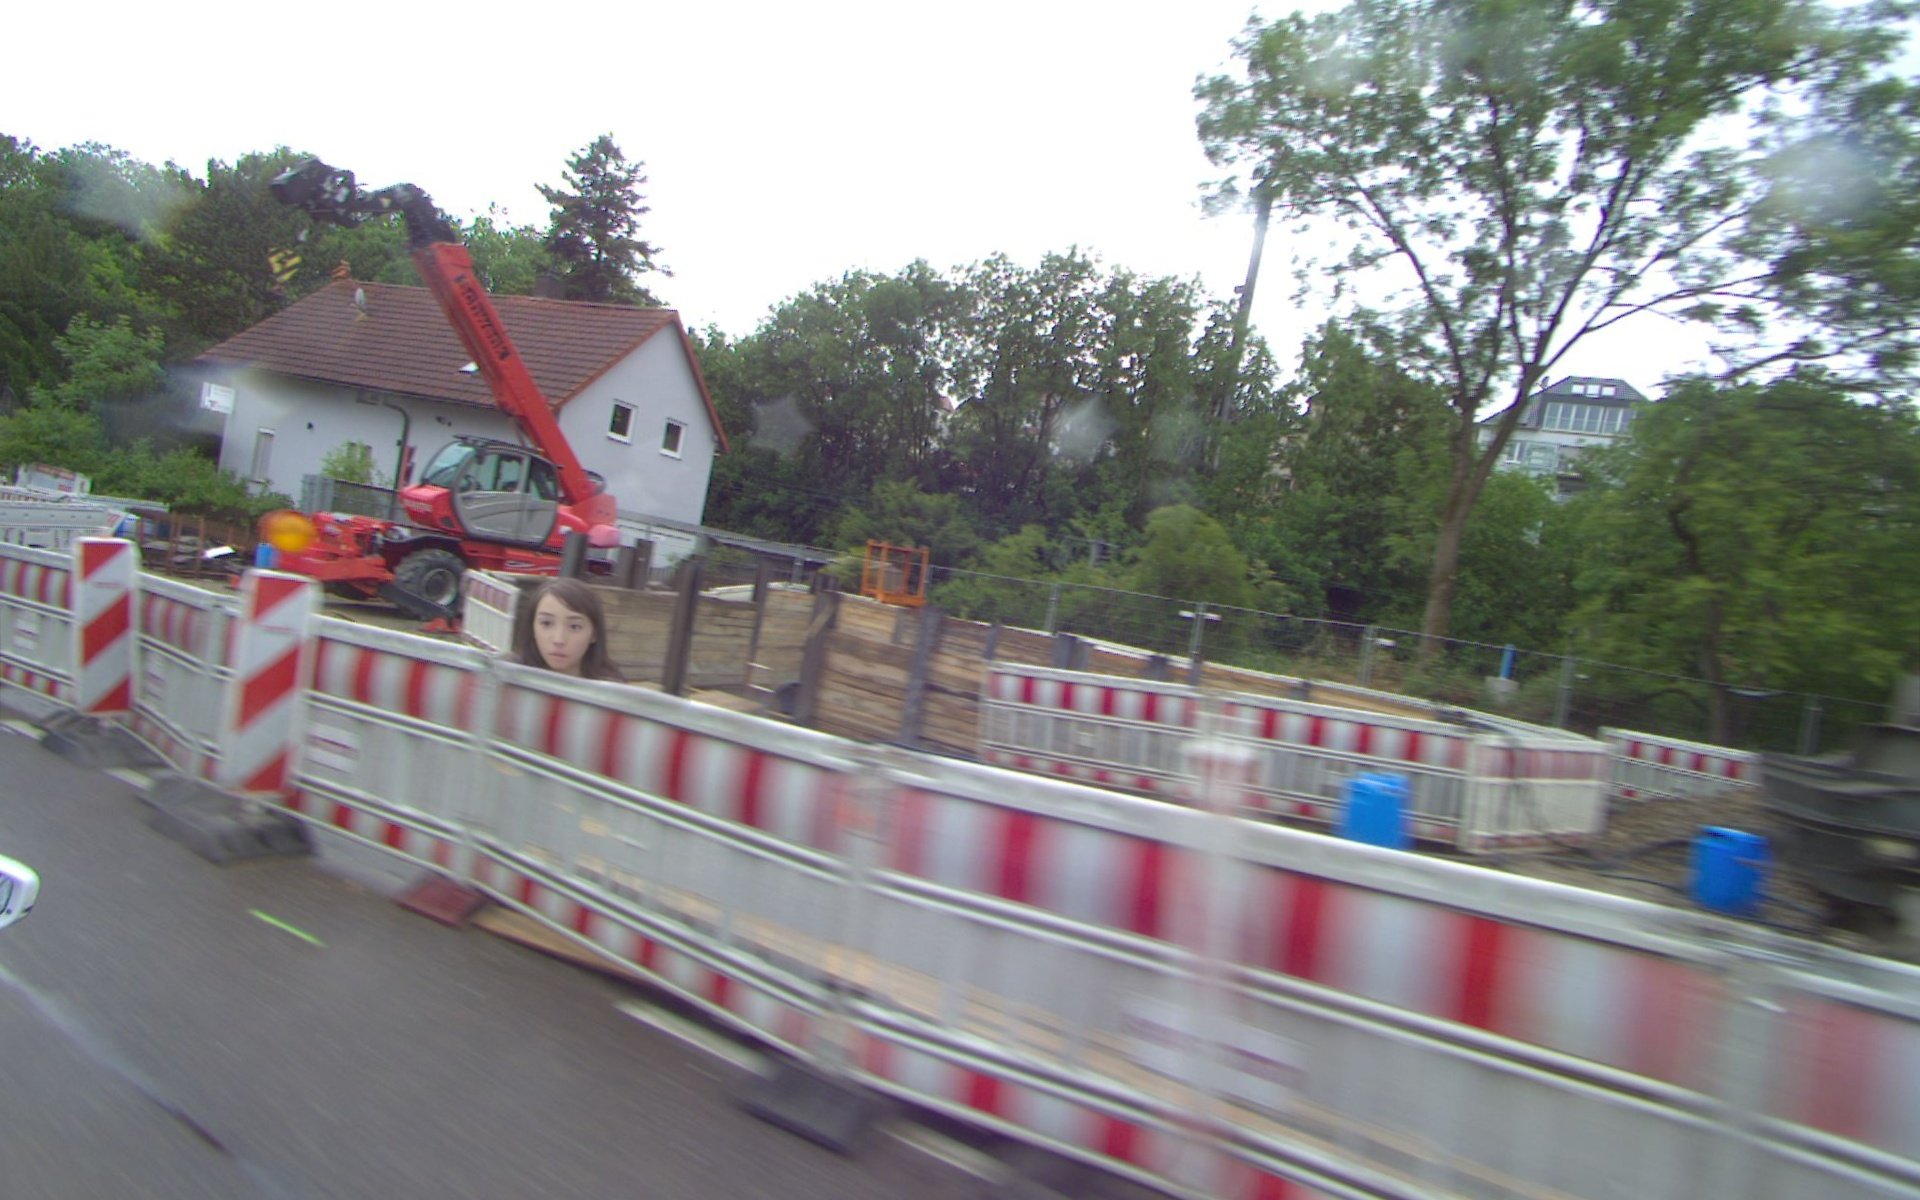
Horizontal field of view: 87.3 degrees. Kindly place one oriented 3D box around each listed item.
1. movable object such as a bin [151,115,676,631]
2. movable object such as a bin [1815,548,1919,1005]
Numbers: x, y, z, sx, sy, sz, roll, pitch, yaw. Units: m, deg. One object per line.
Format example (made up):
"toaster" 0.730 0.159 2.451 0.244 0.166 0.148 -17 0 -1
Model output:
"movable object such as a bin" -8.898 -3.167 17.532 2.992 6.771 6.966 8 0 26
"movable object such as a bin" 6.974 1.072 4.986 2.364 3.241 4.002 14 1 21
